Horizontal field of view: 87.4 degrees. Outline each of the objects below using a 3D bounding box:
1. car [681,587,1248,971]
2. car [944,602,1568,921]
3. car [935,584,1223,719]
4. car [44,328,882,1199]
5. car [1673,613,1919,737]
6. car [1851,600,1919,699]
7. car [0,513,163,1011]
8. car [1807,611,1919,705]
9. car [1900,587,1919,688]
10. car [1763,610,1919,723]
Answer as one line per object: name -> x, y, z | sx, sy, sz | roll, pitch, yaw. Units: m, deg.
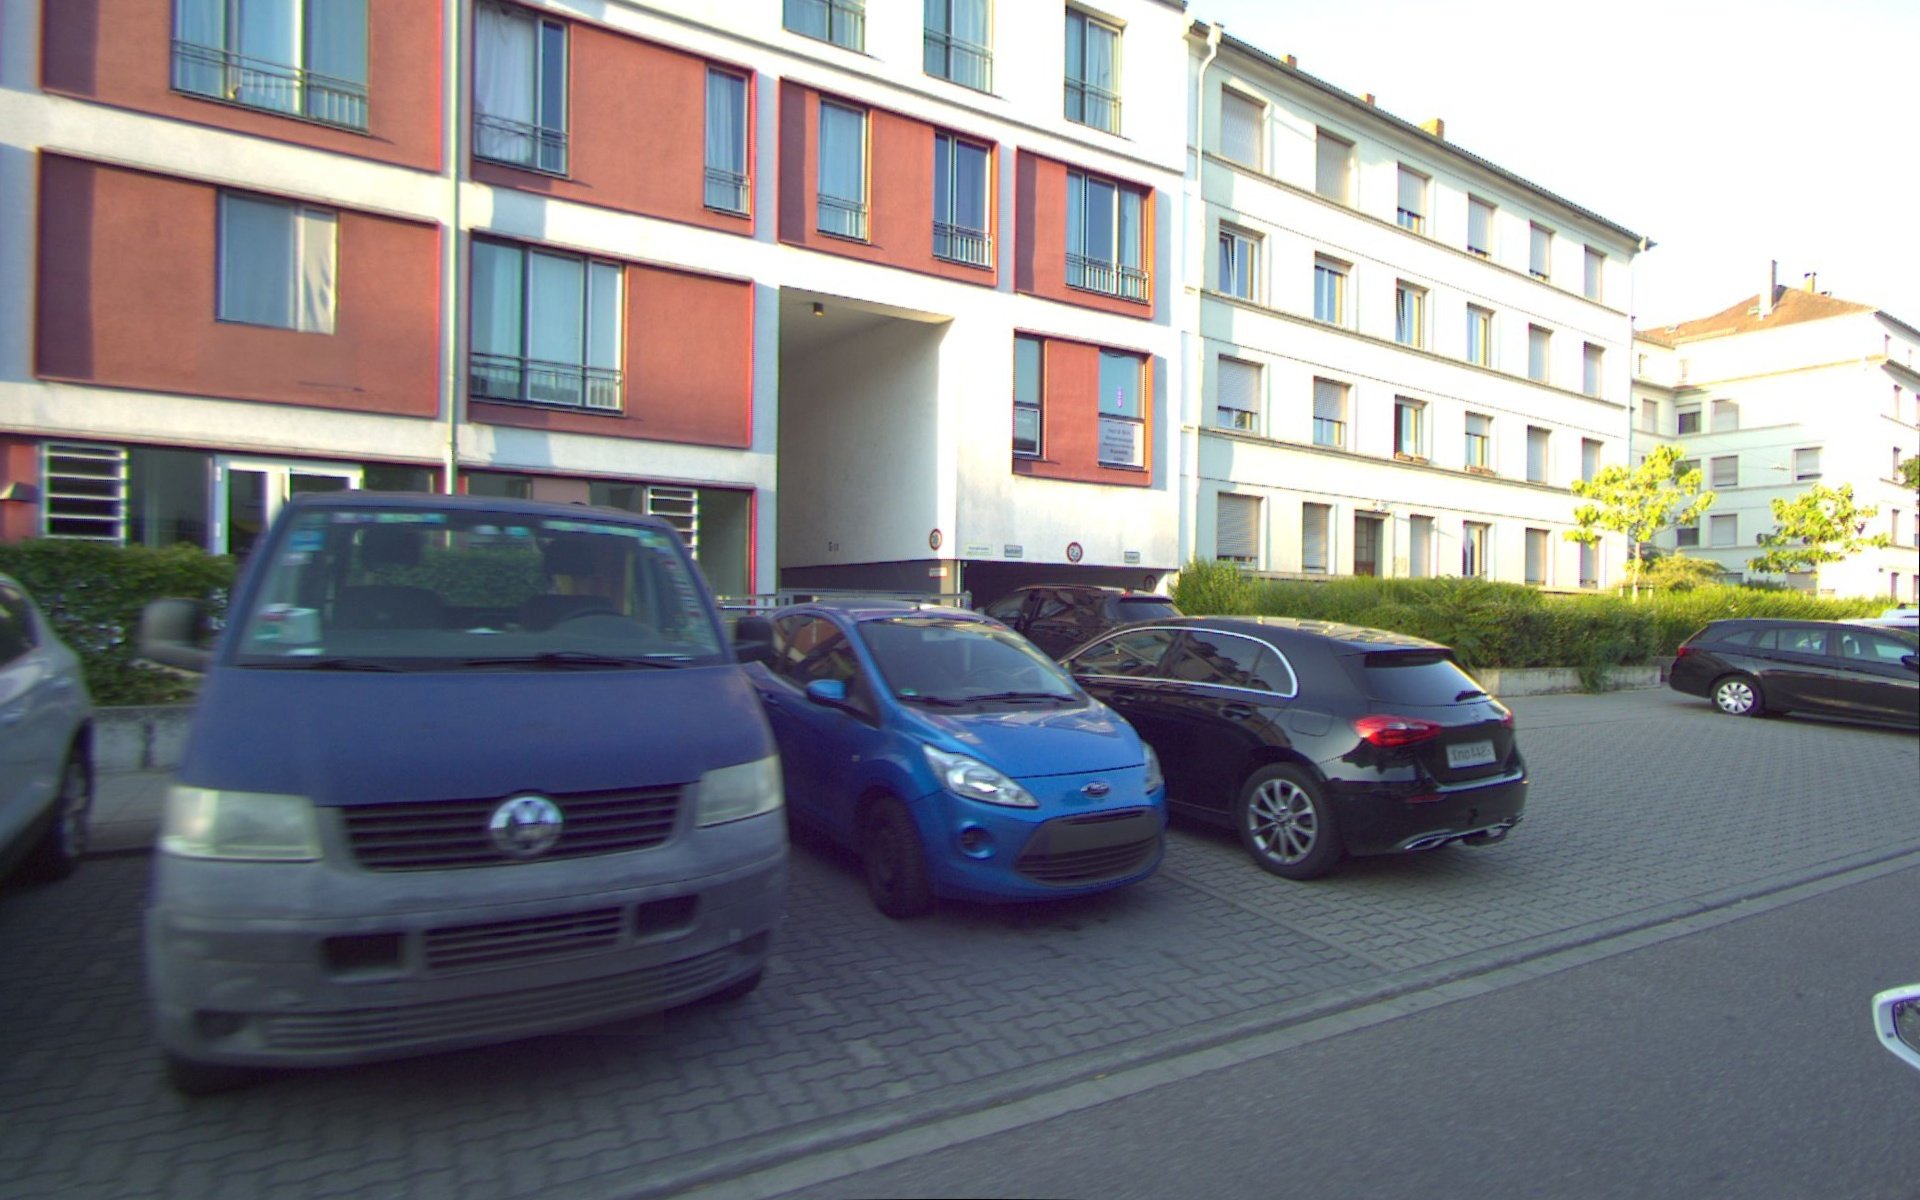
car -> -0.307, 0.736, 6.201 | 1.636, 1.513, 3.861 | 1, 1, -33
car -> 1.743, 0.829, 7.200 | 1.721, 1.435, 4.111 | 1, 1, -34
car -> 1.579, 0.646, 14.521 | 1.981, 1.656, 3.959 | 1, -1, -36
car -> -2.251, 0.472, 4.814 | 1.975, 2.082, 4.835 | 1, -1, -28
car -> 13.012, 1.054, 14.221 | 1.808, 1.471, 4.382 | 1, 2, -33
car -> 19.331, 0.987, 18.159 | 1.920, 1.826, 4.401 | 1, 1, -29
car -> -4.440, 0.556, 3.537 | 1.879, 1.746, 4.166 | 1, -1, -29
car -> 17.277, 1.070, 17.112 | 1.736, 1.504, 3.964 | 1, 3, -32
car -> 21.662, 0.877, 19.520 | 1.975, 2.098, 4.493 | 0, 3, -28
car -> 15.304, 1.048, 15.452 | 1.792, 1.642, 4.221 | 1, 1, -31
